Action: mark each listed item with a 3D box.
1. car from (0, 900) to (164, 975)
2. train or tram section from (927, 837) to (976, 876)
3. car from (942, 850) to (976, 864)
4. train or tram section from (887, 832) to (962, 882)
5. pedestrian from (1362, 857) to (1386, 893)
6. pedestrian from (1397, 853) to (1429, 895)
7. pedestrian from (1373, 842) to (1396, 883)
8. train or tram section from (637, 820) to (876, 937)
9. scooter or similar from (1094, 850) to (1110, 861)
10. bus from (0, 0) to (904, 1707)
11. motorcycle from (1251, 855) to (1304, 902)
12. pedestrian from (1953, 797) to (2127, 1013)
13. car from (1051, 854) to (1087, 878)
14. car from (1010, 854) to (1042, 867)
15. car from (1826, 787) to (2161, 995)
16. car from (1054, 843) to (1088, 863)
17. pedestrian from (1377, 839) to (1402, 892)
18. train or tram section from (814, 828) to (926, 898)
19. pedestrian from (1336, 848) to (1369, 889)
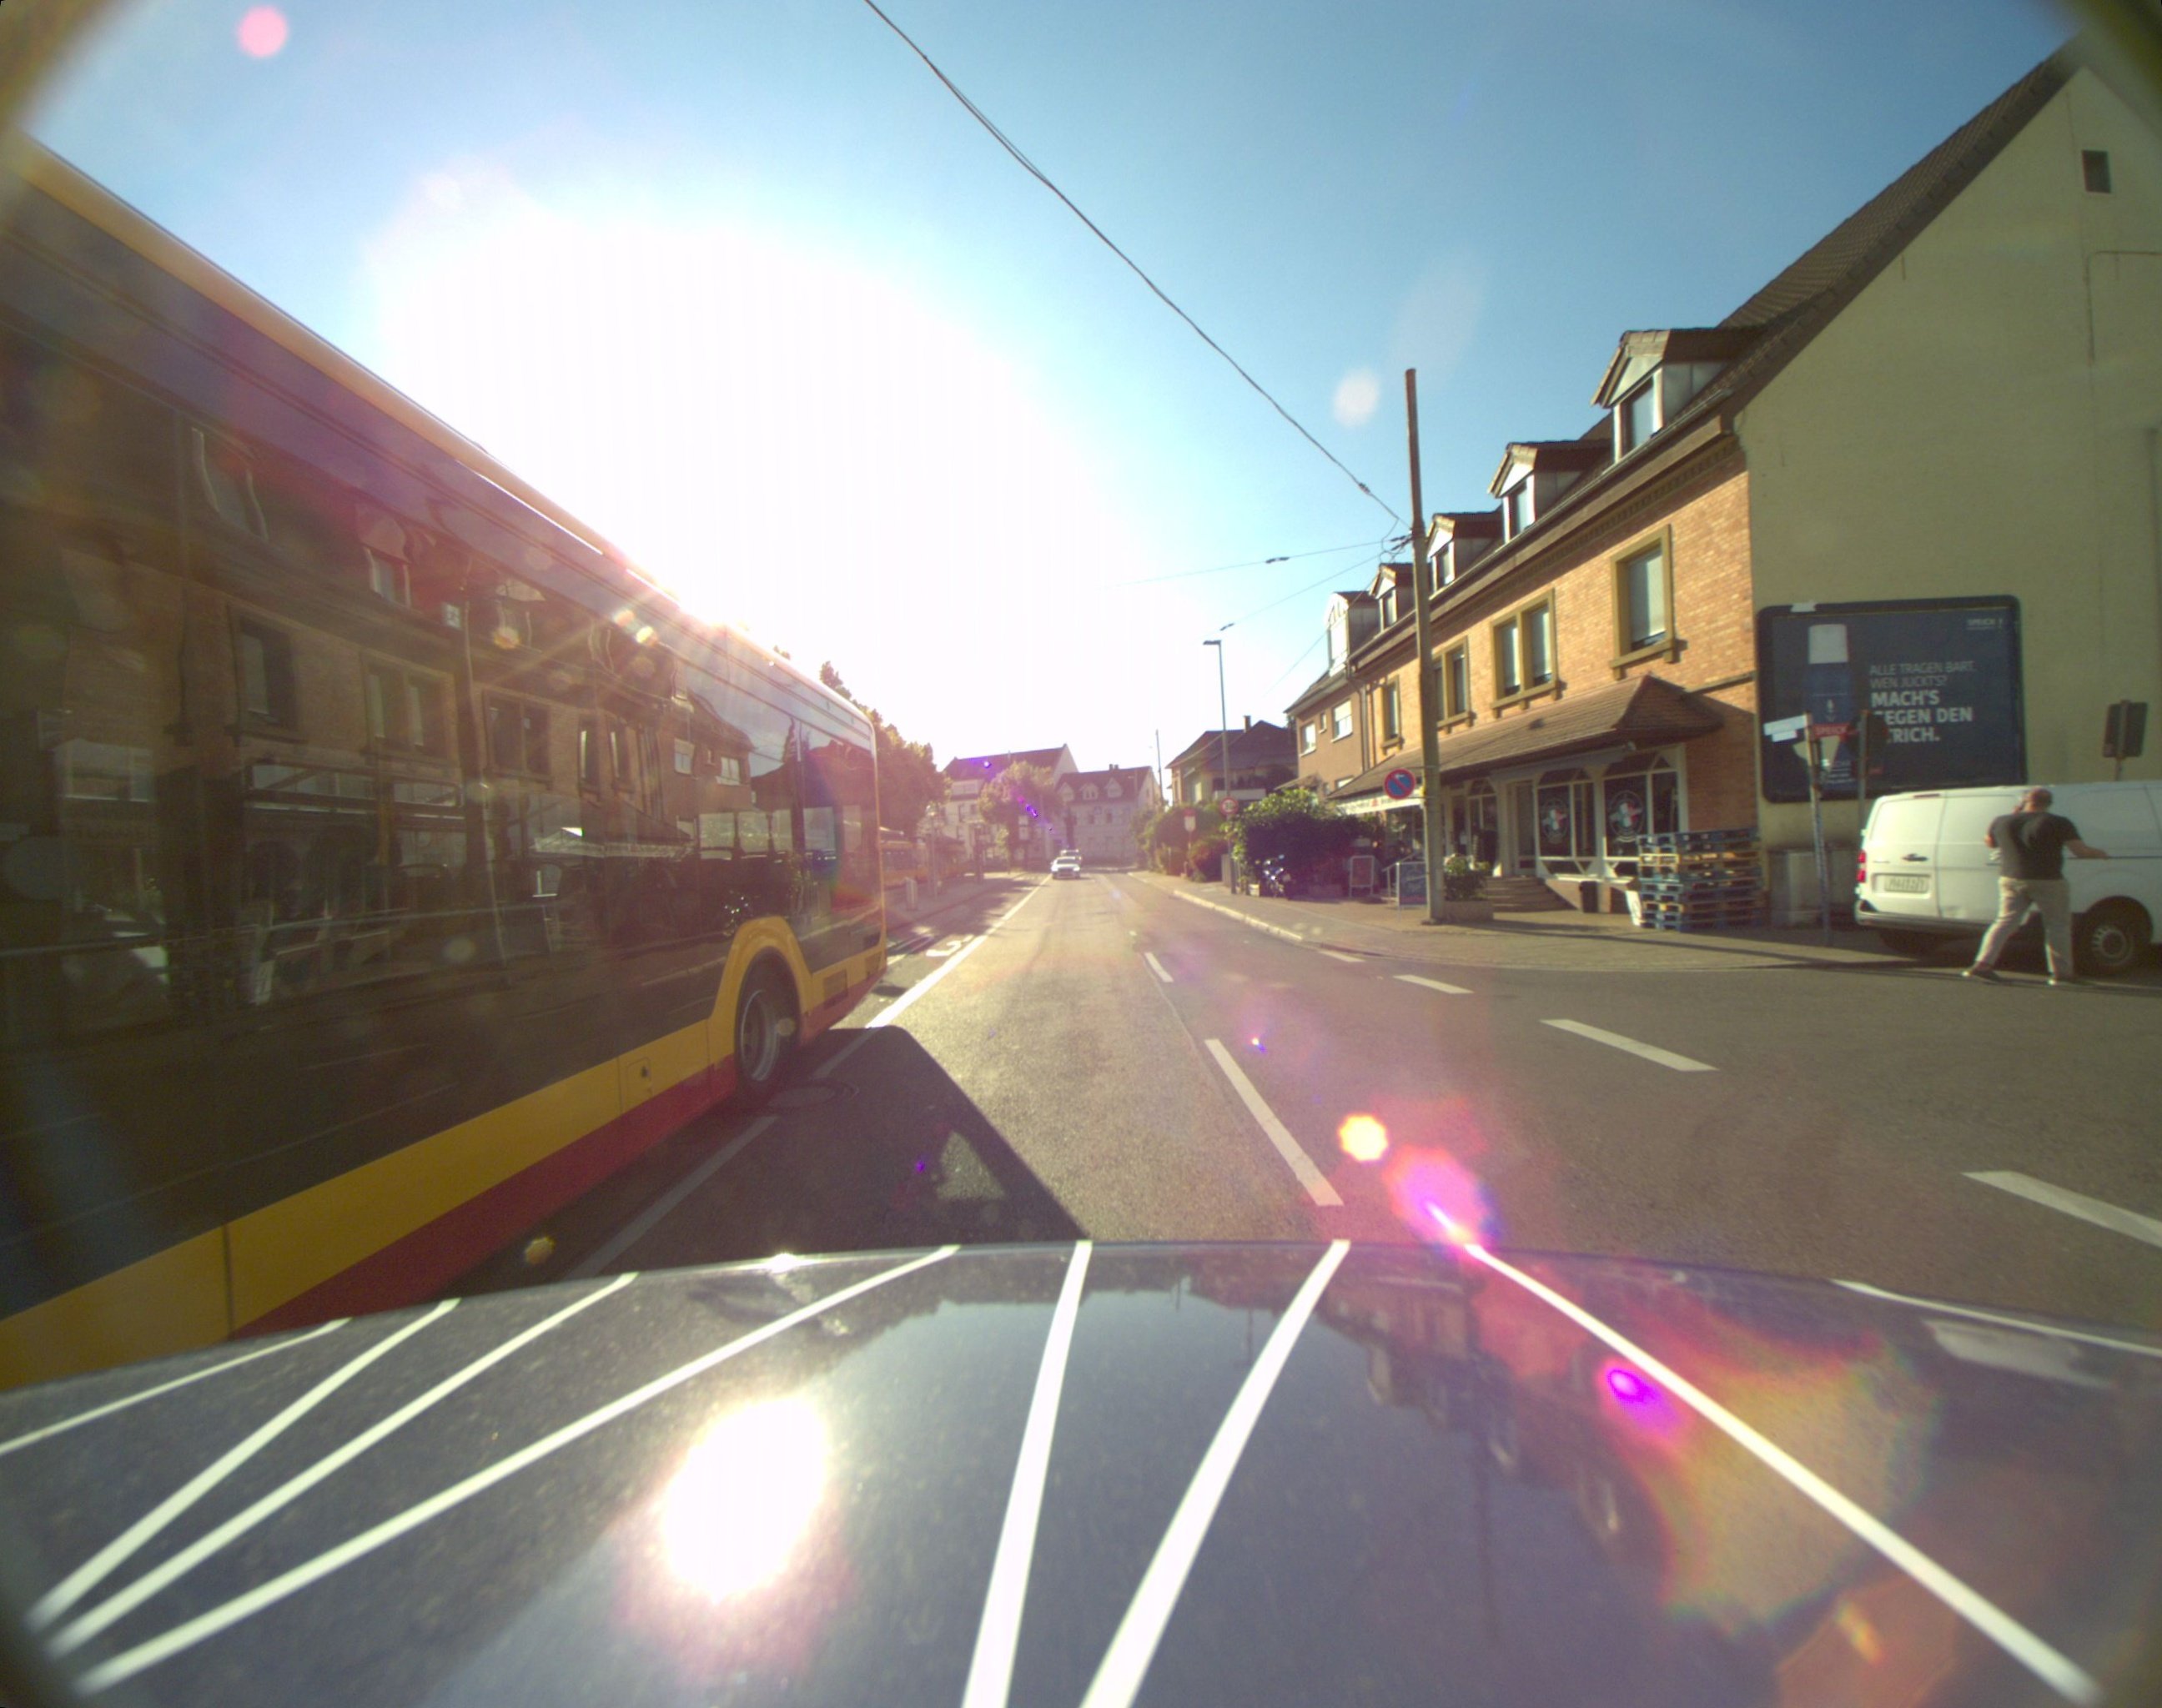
[{"bbox_3d":[-27.967,2.220,20.377,4.448,1.759,2.000,-2,0,4],"label":"car"},{"bbox_3d":[-12.630,0.254,75.457,2.965,3.401,13.461,-2,0,-2],"label":"train or tram section"},{"bbox_3d":[-17.517,0.441,109.400,4.263,1.945,2.002,-2,1,19],"label":"car"},{"bbox_3d":[-12.223,0.227,61.340,2.965,3.401,15.937,-2,0,-1],"label":"train or tram section"},{"bbox_3d":[8.794,0.616,22.794,0.525,1.041,0.383,-3,1,-16],"label":"pedestrian"},{"bbox_3d":[9.202,0.549,21.057,0.564,1.103,0.632,-3,1,0],"label":"pedestrian"},{"bbox_3d":[9.585,0.272,24.006,0.524,1.251,0.465,-3,1,1],"label":"pedestrian"},{"bbox_3d":[-12.176,0.594,31.437,2.965,3.514,15.965,-2,1,0],"label":"train or tram section"},{"bbox_3d":[2.842,0.145,102.481,1.882,1.358,0.625,-3,1,22],"label":"scooter or similar"},{"bbox_3d":[-3.336,0.127,2.125,2.695,3.396,12.018,-3,0,0],"label":"bus"},{"bbox_3d":[5.799,0.698,22.582,0.841,1.275,2.231,-4,1,-3],"label":"motorcycle"},{"bbox_3d":[8.926,0.436,7.087,0.796,1.857,0.818,-3,0,-27],"label":"pedestrian"},{"bbox_3d":[-0.754,0.790,51.795,1.998,1.454,4.450,-3,0,4],"label":"car"},{"bbox_3d":[-7.564,0.928,104.264,4.196,1.454,1.610,-5,0,31],"label":"car"},{"bbox_3d":[11.371,0.271,8.267,4.627,1.922,1.999,-3,0,-2],"label":"car"},{"bbox_3d":[-1.131,-0.115,82.765,1.874,1.921,4.784,-4,0,-24],"label":"car"},{"bbox_3d":[9.138,0.332,22.525,0.465,1.551,0.502,-2,2,-6],"label":"pedestrian"},{"bbox_3d":[-12.237,0.326,45.892,2.965,3.514,13.460,-2,1,0],"label":"train or tram section"},{"bbox_3d":[8.355,0.439,23.425,0.746,1.236,0.667,-3,1,3],"label":"pedestrian"}]
